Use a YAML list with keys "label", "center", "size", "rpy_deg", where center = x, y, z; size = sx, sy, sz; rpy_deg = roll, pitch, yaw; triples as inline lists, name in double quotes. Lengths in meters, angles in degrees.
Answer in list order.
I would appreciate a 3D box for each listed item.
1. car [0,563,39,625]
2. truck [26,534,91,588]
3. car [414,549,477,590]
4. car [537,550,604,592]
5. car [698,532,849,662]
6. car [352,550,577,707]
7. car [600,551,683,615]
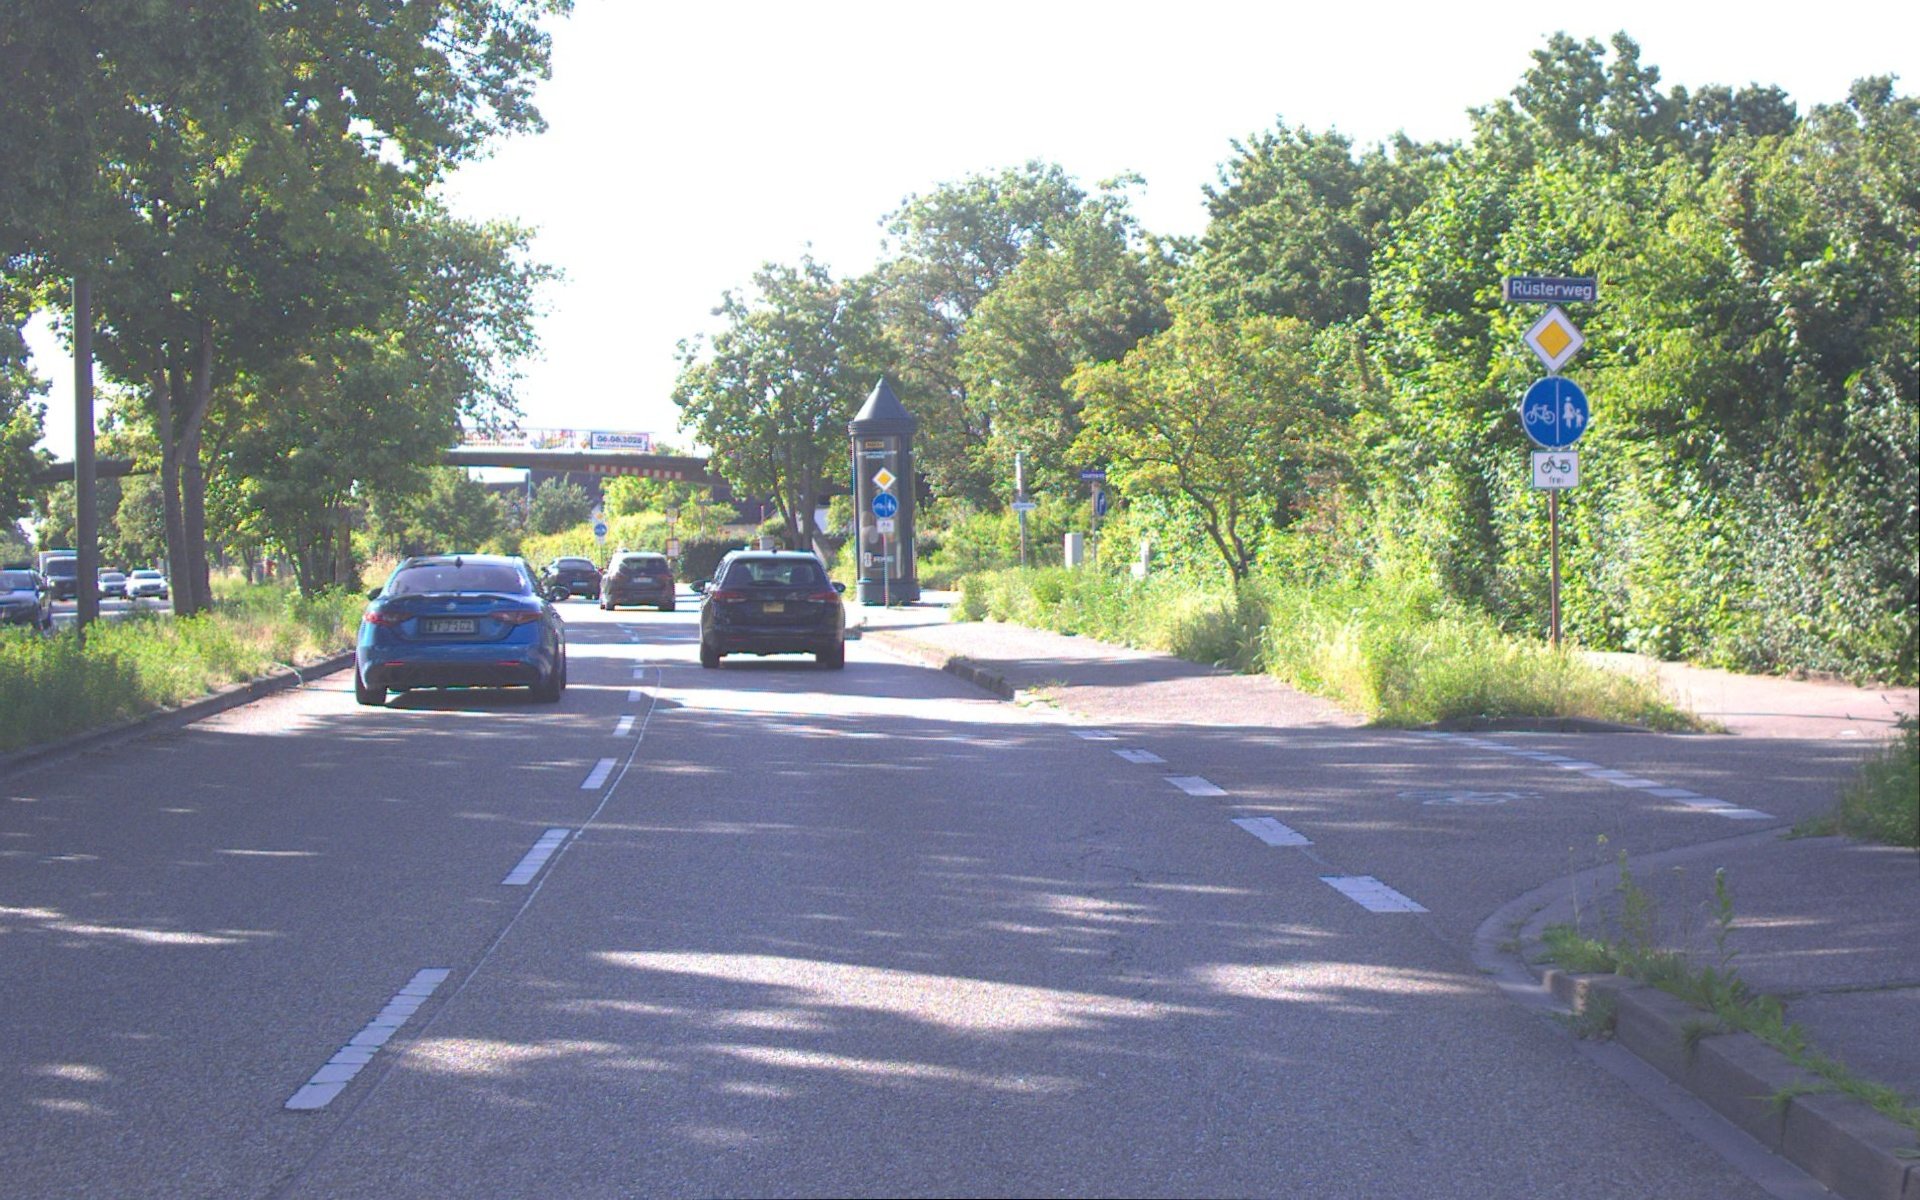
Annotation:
- label: "car"
  center: [-23.328, -0.134, 83.376]
  size: [1.692, 1.431, 4.942]
  rpy_deg: [-3, 1, -13]
- label: "truck"
  center: [-44.678, -1.920, 170.345]
  size: [2.172, 2.504, 5.743]
  rpy_deg: [-4, 1, -23]
- label: "car"
  center: [-17.770, -1.079, 118.614]
  size: [1.898, 1.351, 4.001]
  rpy_deg: [-1, 1, -12]
- label: "car"
  center: [-13.484, -1.014, 118.794]
  size: [1.898, 1.351, 4.001]
  rpy_deg: [-1, 1, -12]
- label: "car"
  center: [-2.406, -0.028, 43.609]
  size: [1.760, 1.554, 4.000]
  rpy_deg: [1, 0, -5]
- label: "car"
  center: [-4.772, 0.233, 33.579]
  size: [1.994, 1.400, 4.001]
  rpy_deg: [-1, 1, -6]
- label: "car"
  center: [-8.395, -0.468, 90.286]
  size: [1.743, 1.592, 4.176]
  rpy_deg: [-1, 1, -11]
